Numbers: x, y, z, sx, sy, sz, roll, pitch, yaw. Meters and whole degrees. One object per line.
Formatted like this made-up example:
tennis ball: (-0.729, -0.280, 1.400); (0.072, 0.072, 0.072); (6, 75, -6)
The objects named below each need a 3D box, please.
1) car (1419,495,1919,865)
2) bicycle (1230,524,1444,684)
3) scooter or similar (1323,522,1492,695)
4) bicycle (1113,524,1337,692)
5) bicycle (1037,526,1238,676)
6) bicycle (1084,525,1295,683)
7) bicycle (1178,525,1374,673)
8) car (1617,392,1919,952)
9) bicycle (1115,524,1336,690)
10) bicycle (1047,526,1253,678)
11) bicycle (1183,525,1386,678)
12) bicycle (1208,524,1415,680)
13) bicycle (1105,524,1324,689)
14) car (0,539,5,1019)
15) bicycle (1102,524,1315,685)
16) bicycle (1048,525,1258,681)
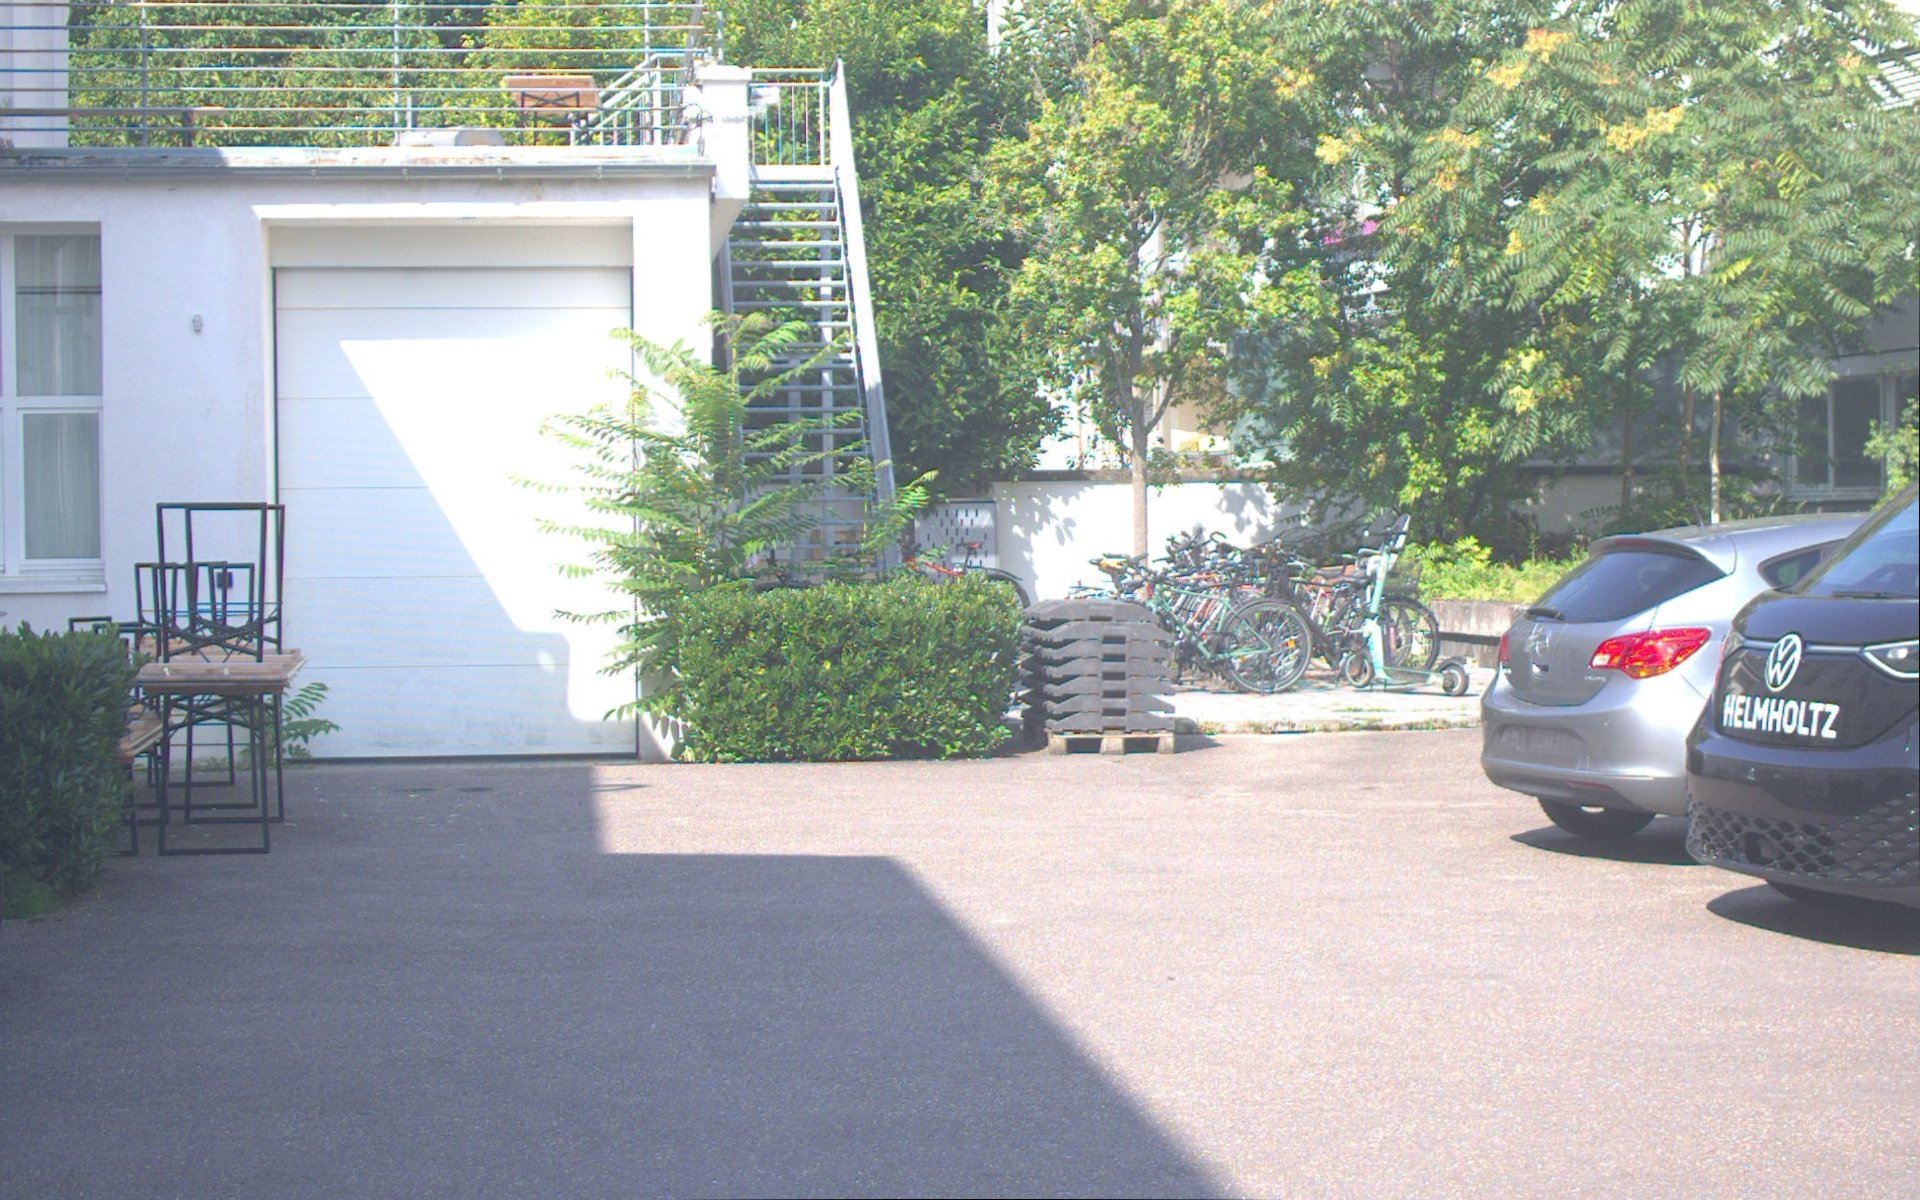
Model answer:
car: (4.232, 0.282, 15.310); (3.931, 1.477, 1.775); (-1, 1, -15)
bicycle: (2.952, 0.030, 26.897); (1.623, 1.210, 0.327); (-1, 1, 9)
scooter or similar: (3.339, 0.055, 25.719); (0.378, 1.256, 1.348); (-3, 2, -38)
bicycle: (1.987, 0.055, 25.826); (1.623, 1.210, 0.327); (-2, 1, -5)
bicycle: (1.504, -0.002, 29.138); (1.622, 1.210, 0.424); (-2, 1, -11)
bicycle: (1.824, 0.030, 27.247); (1.623, 1.210, 0.327); (-1, 1, 7)
bicycle: (2.701, -0.012, 29.348); (1.623, 1.210, 0.424); (-1, 1, 6)
car: (4.880, 0.170, 12.473); (4.499, 1.788, 1.884); (-1, 1, -15)
bicycle: (2.018, 0.049, 26.152); (1.623, 1.210, 0.327); (-2, 1, -5)
bicycle: (1.576, 0.009, 28.540); (1.622, 1.210, 0.424); (-2, 1, -11)
bicycle: (2.673, 0.007, 28.313); (1.623, 1.210, 0.424); (-1, 1, 6)
bicycle: (2.835, 0.016, 27.750); (1.623, 1.210, 0.424); (-1, 1, 7)
bicycle: (1.956, 0.044, 26.441); (1.623, 1.210, 0.327); (-2, 1, -5)
car: (-3.490, 0.580, 8.449); (1.688, 1.454, 3.924); (0, 1, -8)
bicycle: (1.942, 0.036, 26.893); (1.623, 1.210, 0.327); (-1, 1, 4)
bicycle: (1.562, 0.021, 27.901); (1.623, 1.210, 0.424); (-2, 1, -7)
